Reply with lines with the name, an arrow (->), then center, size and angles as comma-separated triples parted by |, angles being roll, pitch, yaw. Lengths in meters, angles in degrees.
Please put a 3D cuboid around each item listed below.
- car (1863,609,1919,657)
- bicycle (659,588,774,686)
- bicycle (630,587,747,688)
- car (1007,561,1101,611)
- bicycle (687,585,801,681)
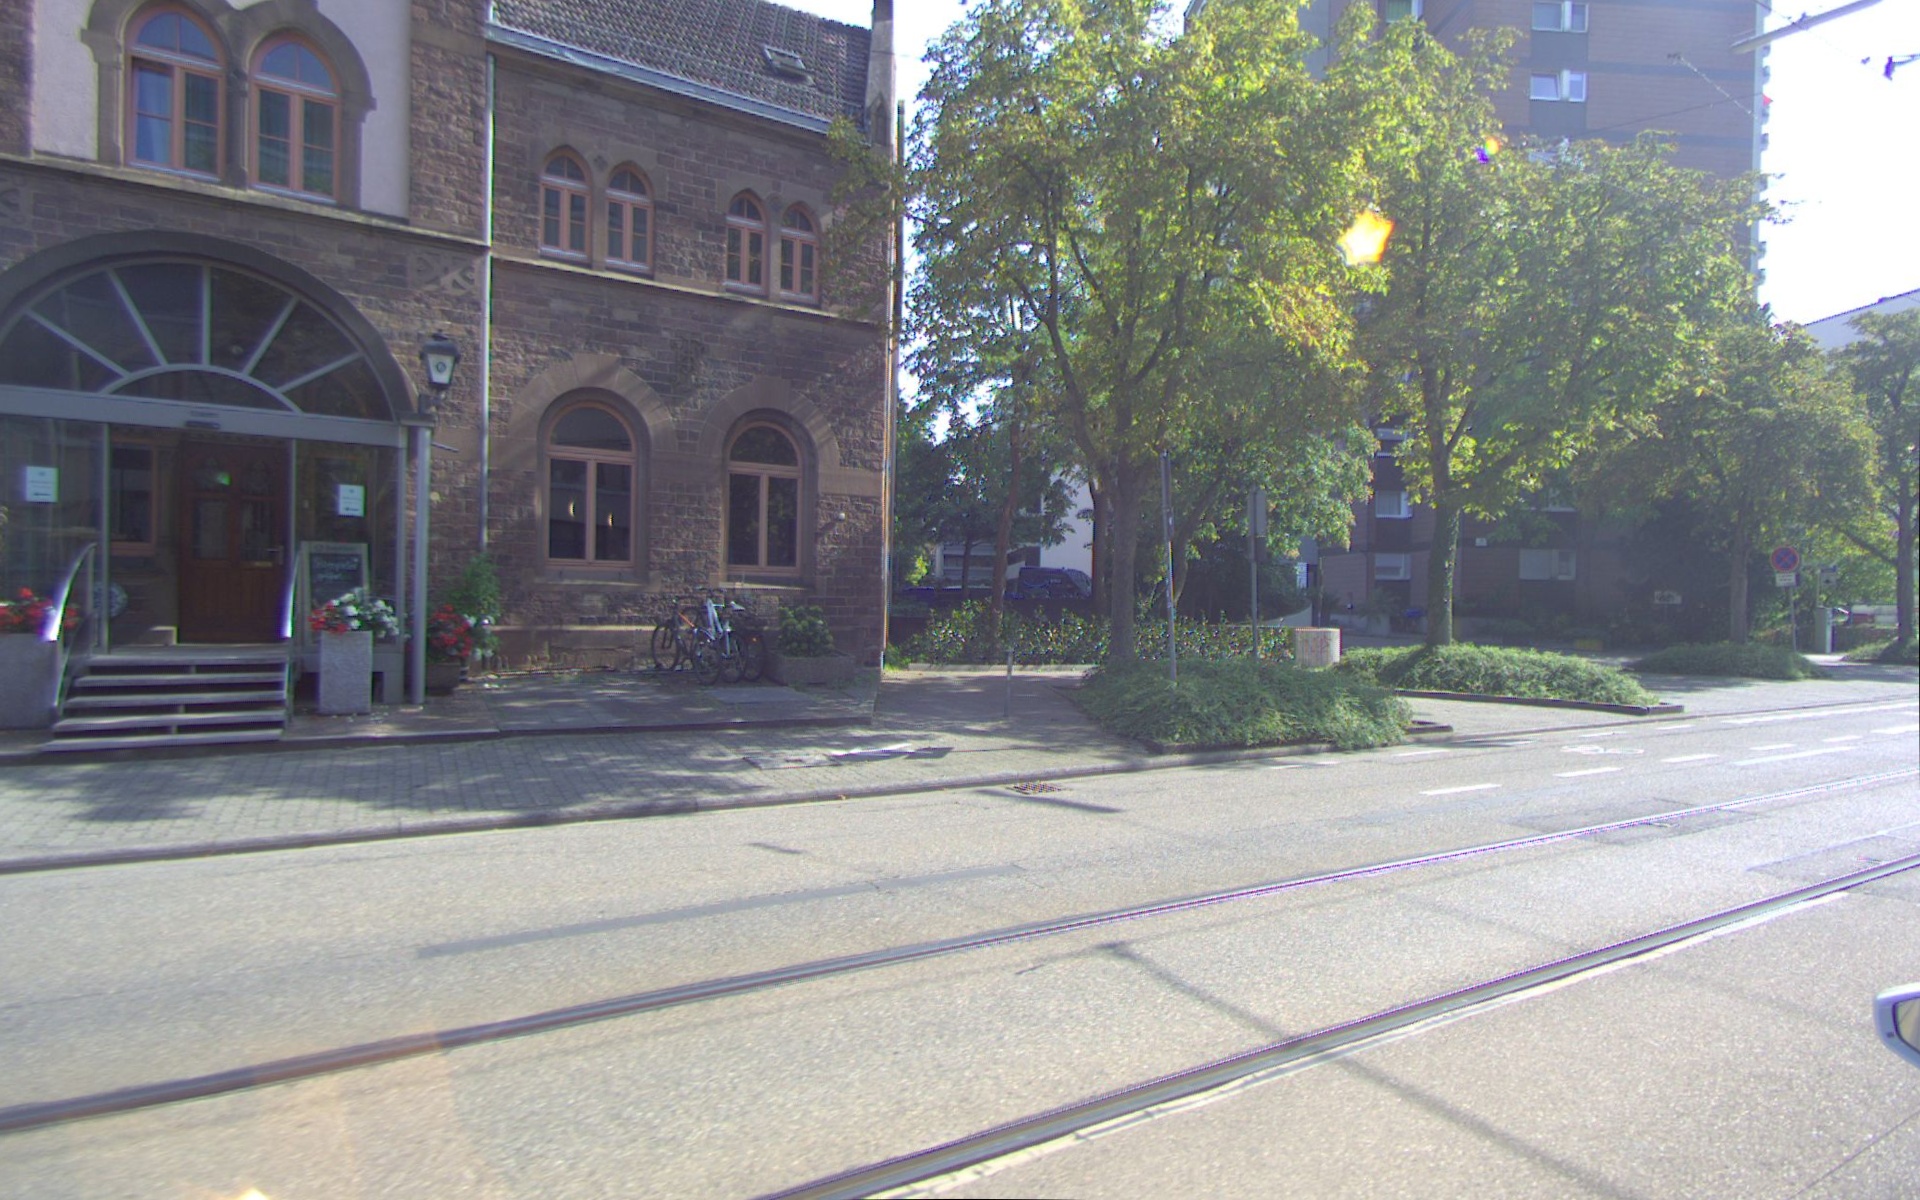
car -> 31.896, 1.093, 32.307 | 3.929, 1.499, 1.785 | 1, 0, 31
bicycle -> -3.257, 0.460, 13.331 | 1.780, 1.088, 0.419 | 7, 4, 38
bicycle -> -3.524, 0.454, 12.944 | 1.780, 1.088, 0.419 | 7, 4, 38
car -> 5.172, -0.758, 55.952 | 2.007, 2.631, 5.144 | 1, 0, -43
bicycle -> -2.972, 0.423, 13.697 | 1.780, 1.088, 0.419 | 7, 4, 38
